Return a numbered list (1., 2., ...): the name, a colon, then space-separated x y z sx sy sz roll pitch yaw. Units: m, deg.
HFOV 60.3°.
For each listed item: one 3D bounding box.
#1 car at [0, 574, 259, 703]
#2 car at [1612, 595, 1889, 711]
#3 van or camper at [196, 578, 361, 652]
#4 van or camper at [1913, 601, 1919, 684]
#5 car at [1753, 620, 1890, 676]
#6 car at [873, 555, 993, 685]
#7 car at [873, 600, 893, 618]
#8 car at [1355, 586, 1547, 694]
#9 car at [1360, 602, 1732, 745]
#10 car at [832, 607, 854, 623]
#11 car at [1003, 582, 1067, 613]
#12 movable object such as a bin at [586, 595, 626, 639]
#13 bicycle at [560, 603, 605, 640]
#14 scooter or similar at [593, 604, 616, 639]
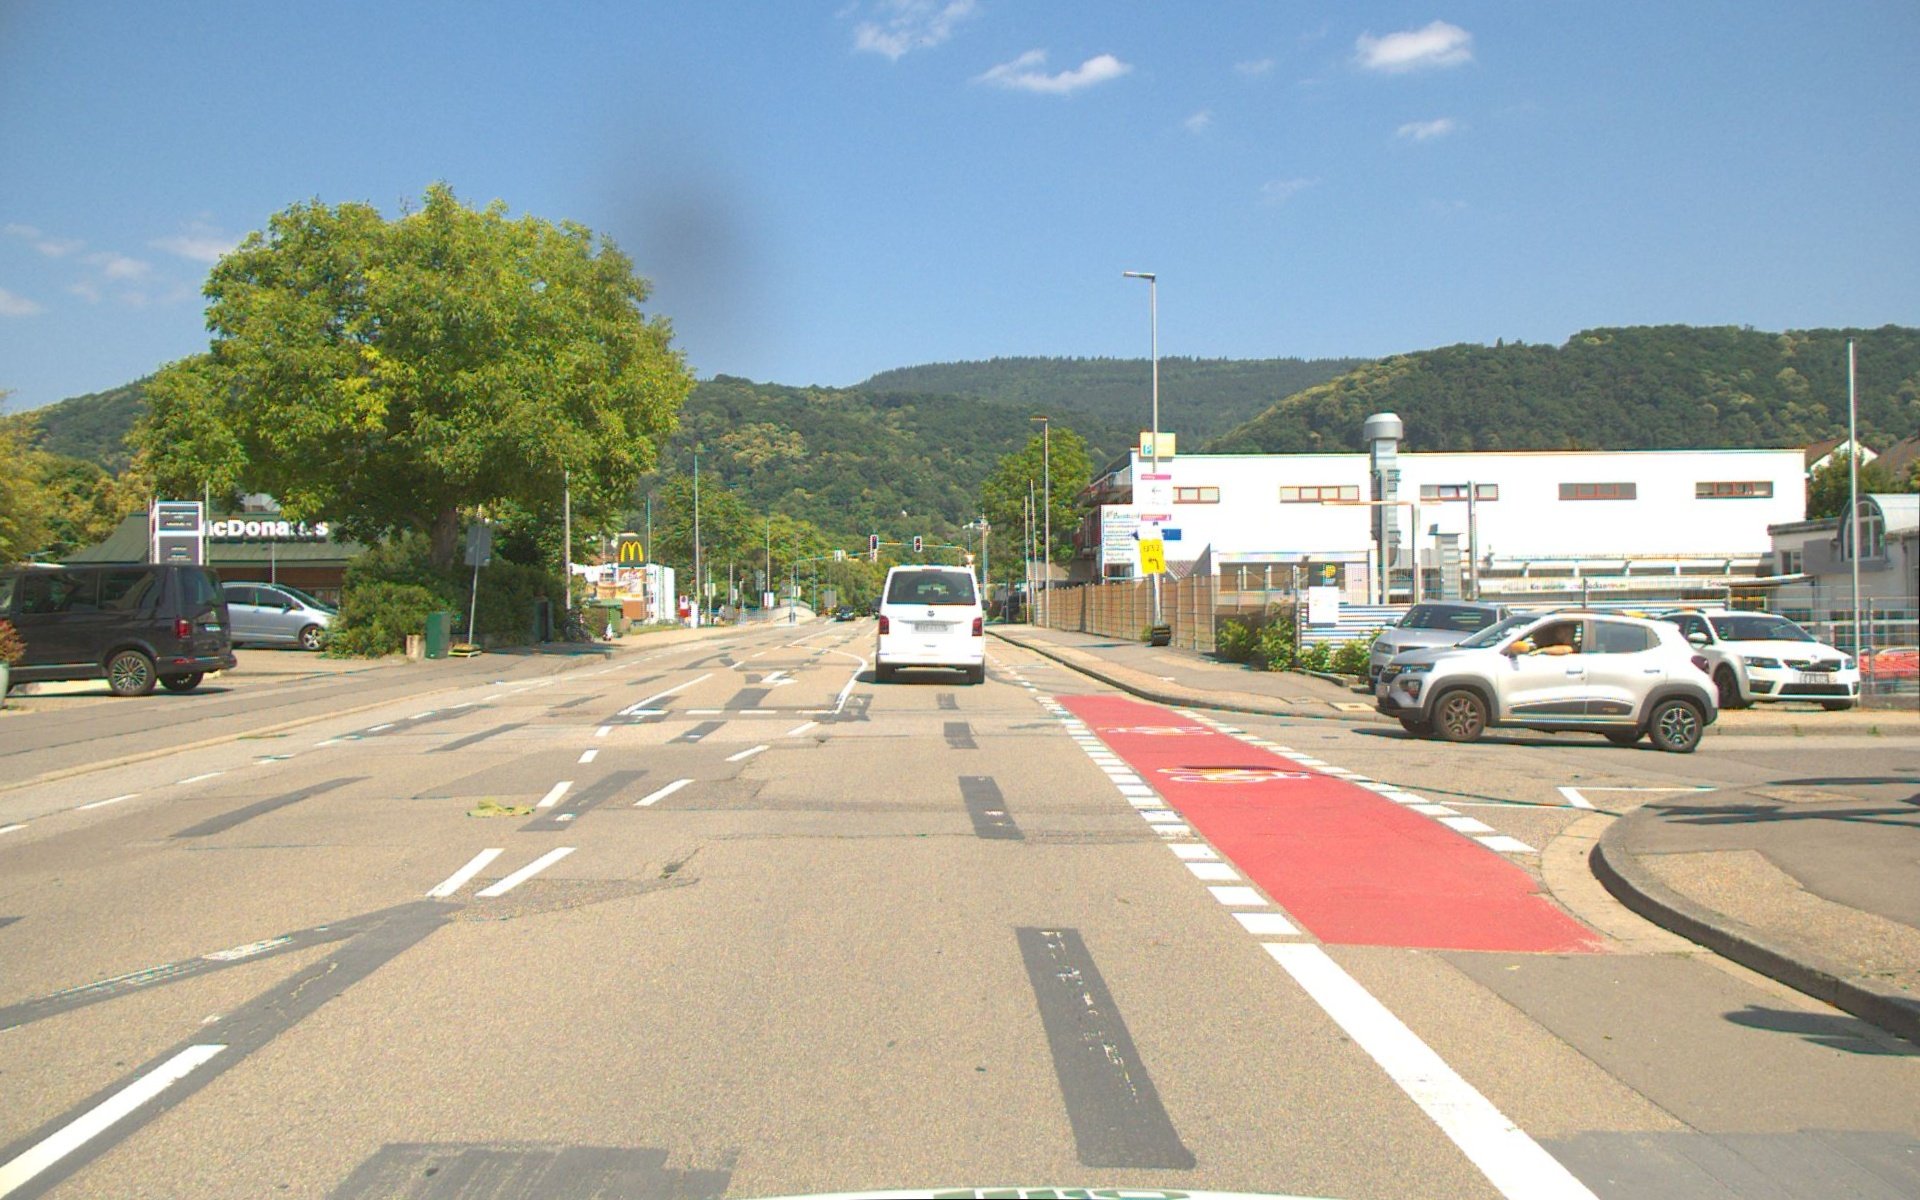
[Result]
1. car: -13.421 0.556 25.390 4.479 1.898 2.089 0 0 -7
2. car: 11.597 0.708 24.652 1.810 1.530 4.504 -1 0 -3
3. van or camper: -16.753 0.366 40.748 3.323 1.694 1.633 2 0 0
4. van or camper: 16.905 0.795 25.317 1.954 1.374 4.226 5 0 -3
5. car: 30.470 1.691 58.563 3.908 1.889 1.914 1 -1 -4
6. car: -0.555 0.330 29.544 1.896 2.095 4.541 2 0 -4
7. car: -7.193 0.800 154.480 1.812 1.616 3.999 -1 0 -2
8. car: 7.446 0.618 24.770 1.914 1.382 4.491 3 -1 27
9. car: 6.536 0.791 18.680 3.591 1.510 1.727 0 0 -3
10. car: -10.591 1.325 149.889 1.954 1.394 4.324 -1 0 -3
11. car: 4.724 -0.157 104.018 3.903 1.806 2.001 -1 0 4
12. movable object such as a bin: -13.441 0.638 62.848 1.422 1.618 1.304 -1 0 -11
13. bicycle: -12.165 0.680 53.427 1.007 1.137 2.763 2 0 -5
14. scooter or similar: -12.228 0.745 56.943 0.635 1.147 1.620 2 0 -8
